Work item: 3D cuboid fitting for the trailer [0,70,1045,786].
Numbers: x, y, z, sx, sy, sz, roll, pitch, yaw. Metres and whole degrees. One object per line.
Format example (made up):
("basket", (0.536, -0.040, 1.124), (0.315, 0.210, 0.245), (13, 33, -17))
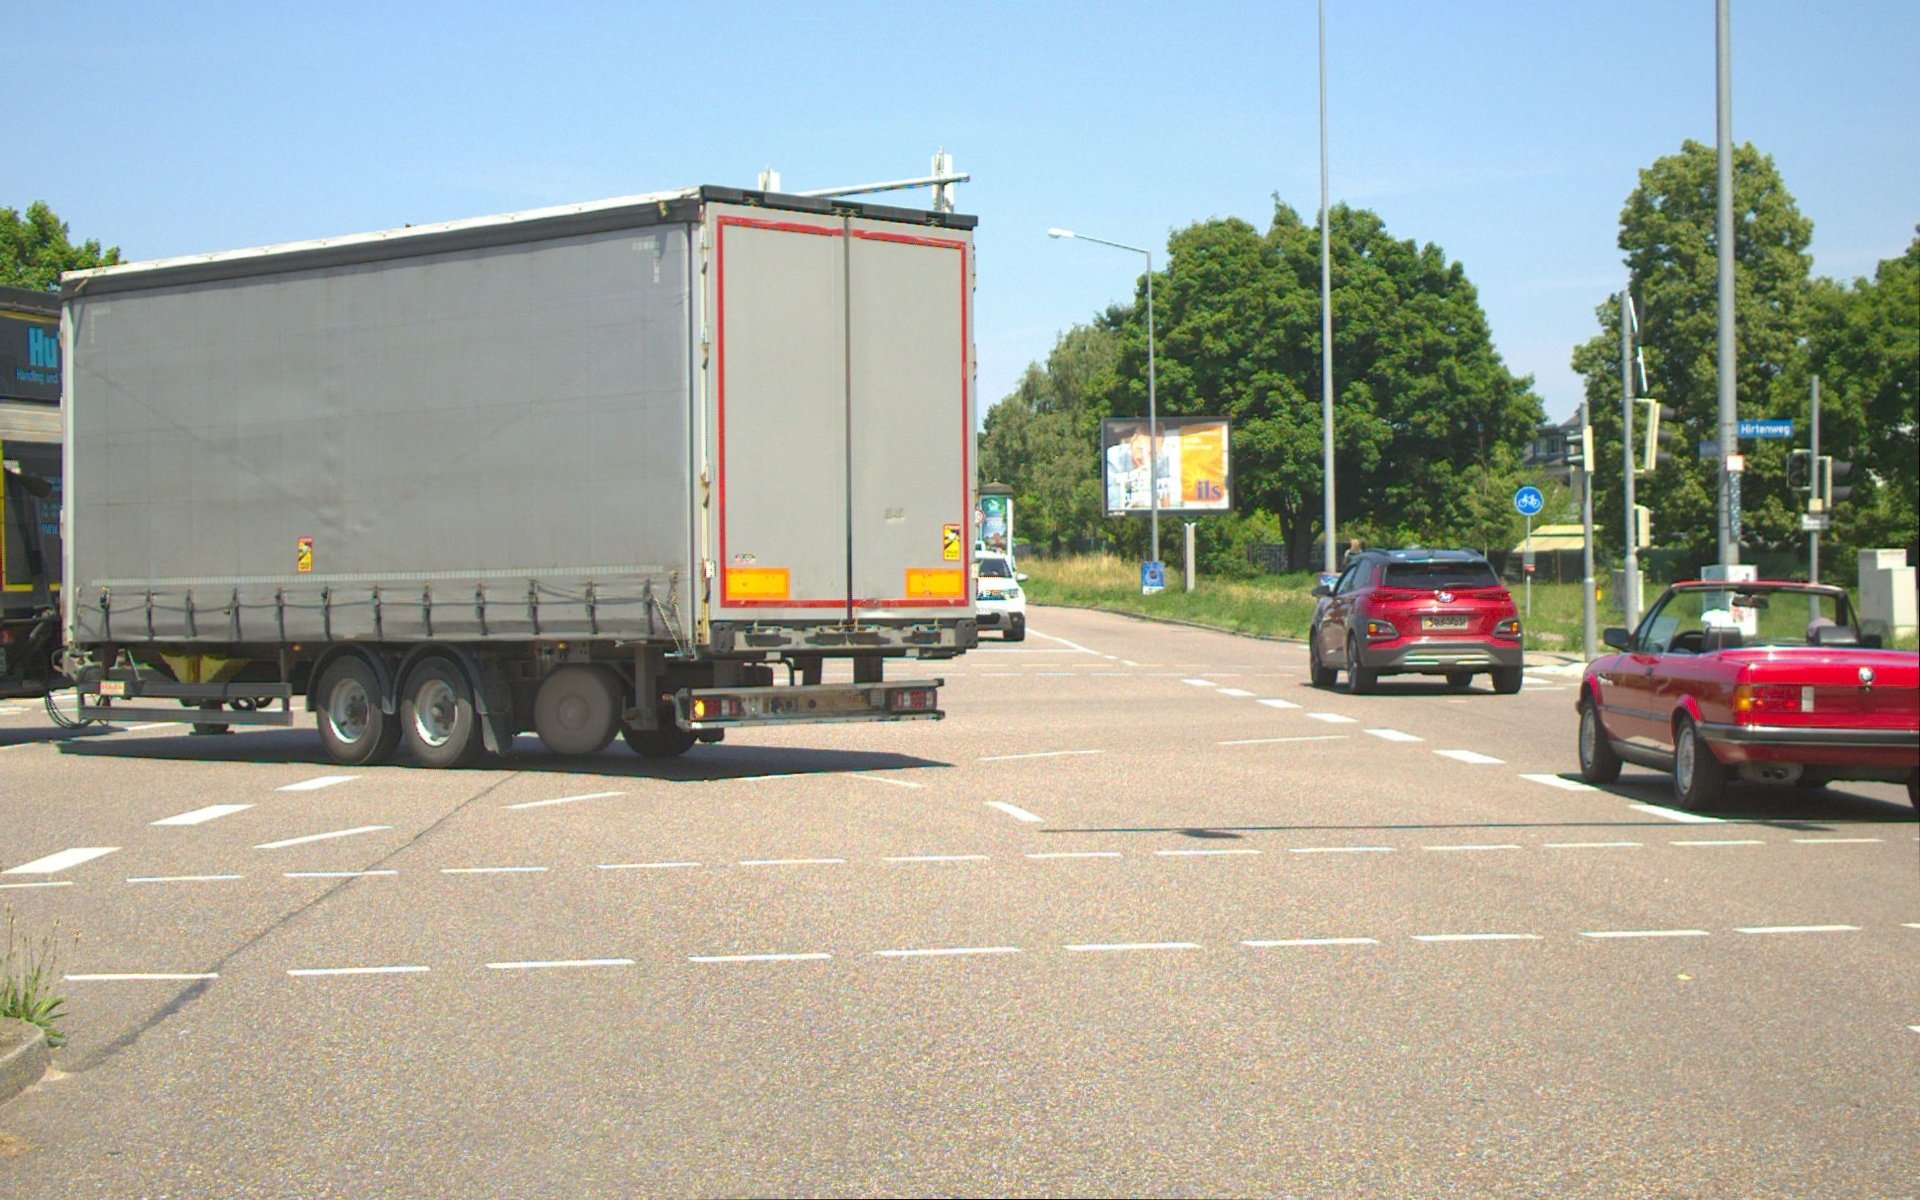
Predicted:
("trailer", (-3.565, -1.083, 25.208), (8.743, 4.406, 2.829), (0, 0, 44))

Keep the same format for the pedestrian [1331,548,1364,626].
("pedestrian", (10.026, -0.342, 88.983), (0.742, 2.007, 0.613), (1, 1, 0))

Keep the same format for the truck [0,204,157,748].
("truck", (-11.384, -0.928, 29.560), (8.260, 4.330, 2.835), (-1, -1, 12))

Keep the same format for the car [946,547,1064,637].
("car", (0.779, -0.176, 62.109), (1.858, 1.537, 4.157), (1, 1, -3))

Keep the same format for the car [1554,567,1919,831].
("car", (4.921, 0.526, 20.967), (1.654, 1.392, 4.268), (1, 1, -3))

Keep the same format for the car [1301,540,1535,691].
("car", (4.967, 0.130, 37.774), (1.858, 1.544, 3.887), (1, 1, -3))
